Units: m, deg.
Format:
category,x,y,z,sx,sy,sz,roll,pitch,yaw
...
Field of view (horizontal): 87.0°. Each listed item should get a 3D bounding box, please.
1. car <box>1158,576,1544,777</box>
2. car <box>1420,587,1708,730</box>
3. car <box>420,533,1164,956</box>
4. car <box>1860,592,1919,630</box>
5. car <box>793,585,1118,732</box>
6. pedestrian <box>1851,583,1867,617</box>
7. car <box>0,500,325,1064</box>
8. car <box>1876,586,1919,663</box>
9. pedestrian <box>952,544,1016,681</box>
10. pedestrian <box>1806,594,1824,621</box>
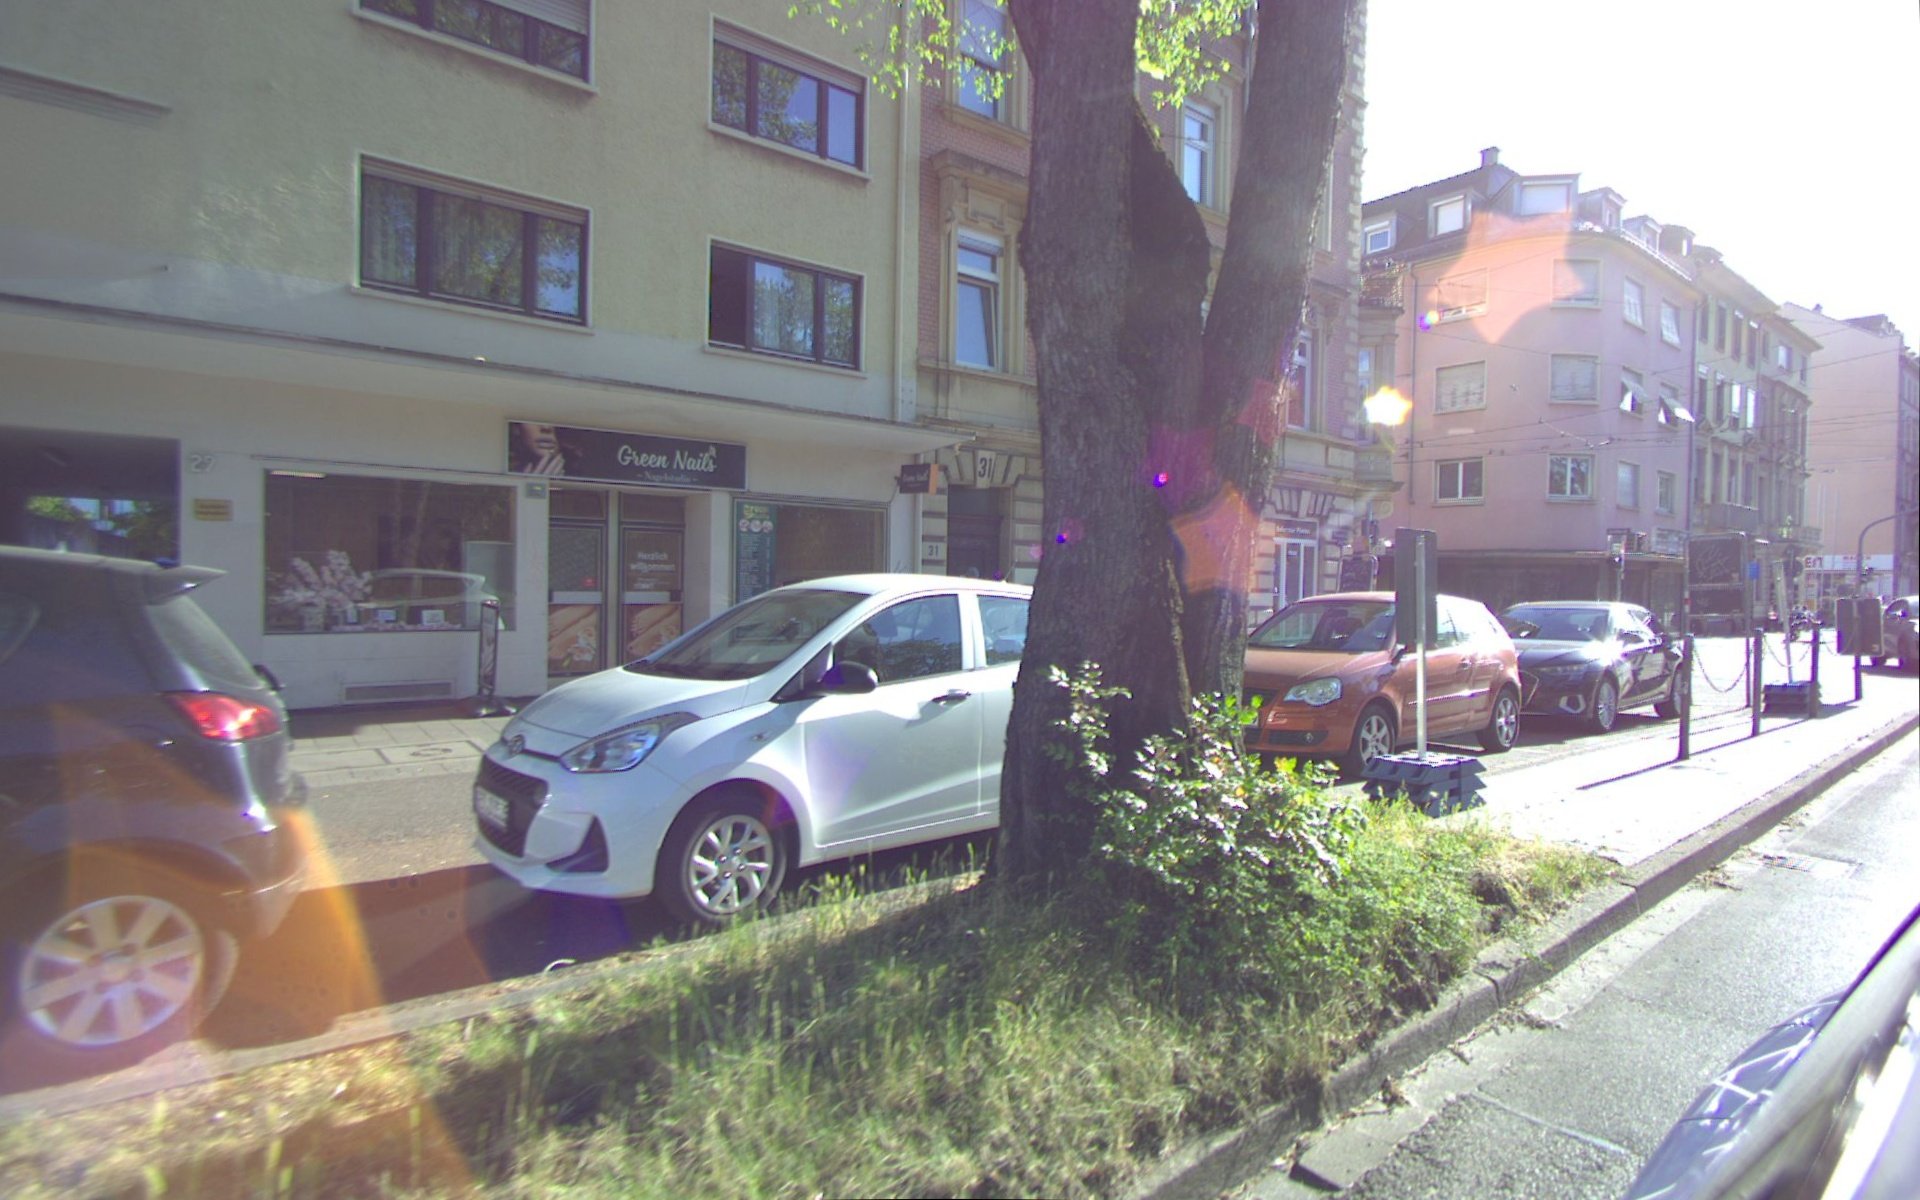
category,x,y,z,sx,sy,sz,roll,pitch,yaw
car,3.663,0.570,9.182,3.835,1.453,1.592,0,-1,-39
car,7.355,0.611,12.173,4.095,1.439,1.700,0,-1,-40
car,-0.681,0.526,5.415,3.633,1.496,1.628,0,-1,-41
car,41.682,0.488,45.104,3.929,1.537,1.739,0,3,-40
car,0.050,0.622,12.747,3.931,1.498,1.696,0,3,-42
pedestrian,47.835,-0.021,53.853,0.648,1.784,0.495,0,1,-39
car,-3.928,0.487,2.647,3.717,1.504,1.565,0,-1,-37
car,20.263,0.482,20.639,1.648,1.500,3.926,-1,-1,32
pedestrian,0.368,0.193,15.556,0.836,2.039,0.513,1,-1,-36
pedestrian,40.216,0.347,47.614,0.647,1.275,0.495,0,0,-37
